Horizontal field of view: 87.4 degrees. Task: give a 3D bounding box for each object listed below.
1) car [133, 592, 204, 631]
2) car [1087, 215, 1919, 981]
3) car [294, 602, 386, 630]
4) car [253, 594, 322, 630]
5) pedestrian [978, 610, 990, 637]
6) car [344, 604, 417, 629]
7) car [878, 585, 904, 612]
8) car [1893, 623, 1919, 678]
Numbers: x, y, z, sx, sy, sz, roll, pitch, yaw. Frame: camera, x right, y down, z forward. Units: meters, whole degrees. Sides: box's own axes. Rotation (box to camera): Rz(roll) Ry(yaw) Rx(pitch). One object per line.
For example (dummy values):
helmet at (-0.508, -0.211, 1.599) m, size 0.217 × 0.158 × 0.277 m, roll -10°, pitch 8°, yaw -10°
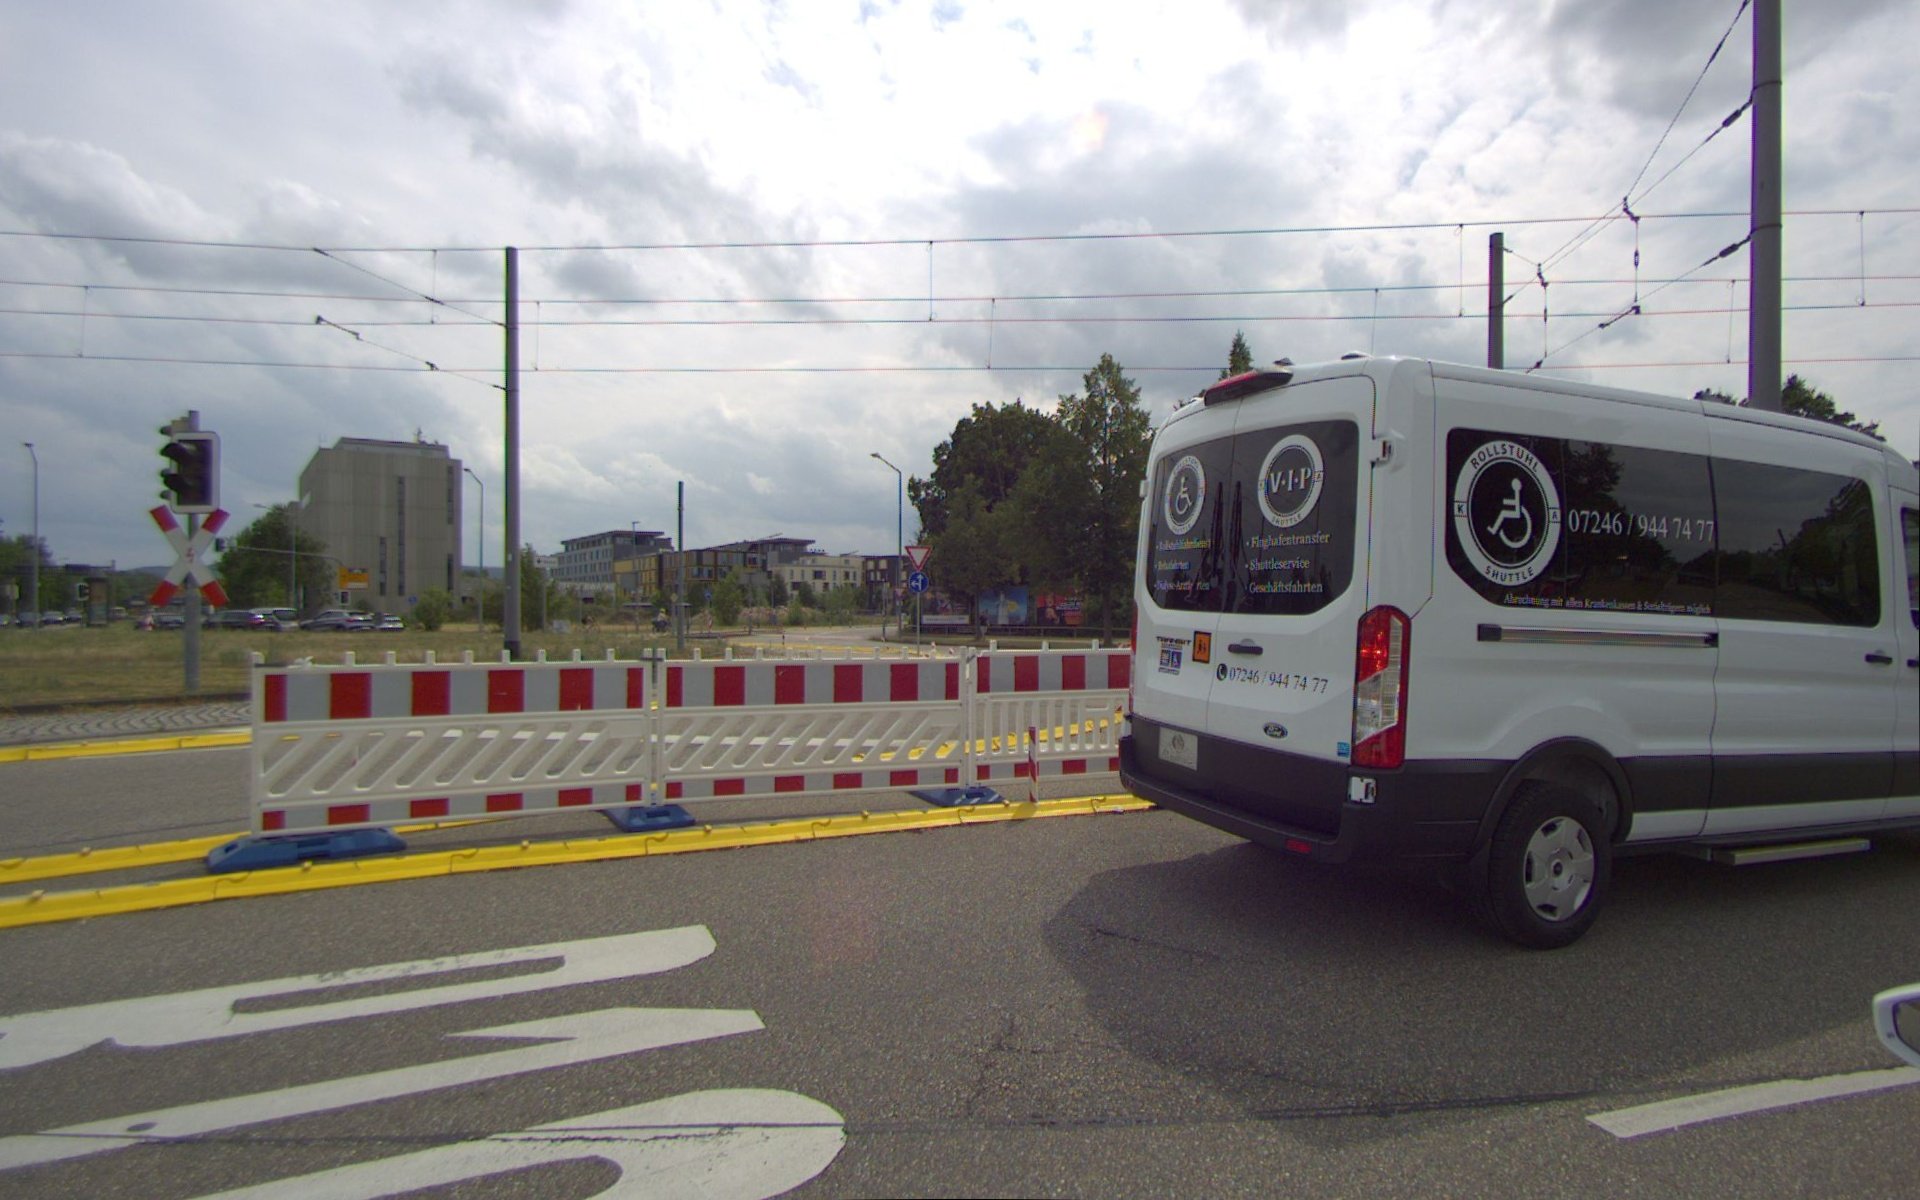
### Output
car at (-43.248, 0.633, 54.864) m, size 3.935 × 2.040 × 1.994 m, roll 0°, pitch -2°, yaw 36°
car at (3.656, 0.026, 5.688) m, size 5.552 × 2.733 × 2.121 m, roll 1°, pitch -1°, yaw -24°
car at (-34.015, 0.868, 55.181) m, size 3.921 × 1.483 × 1.833 m, roll 0°, pitch -1°, yaw -1°
car at (-40.199, 0.736, 59.997) m, size 4.290 × 2.040 × 1.994 m, roll 0°, pitch -2°, yaw 36°
pedestrian at (1.458, 1.421, 60.585) m, size 0.441 × 1.615 × 0.670 m, roll 0°, pitch 0°, yaw 32°
car at (-35.271, 1.006, 61.138) m, size 3.923 × 1.483 × 1.833 m, roll 0°, pitch -2°, yaw 23°
car at (-5.597, -0.104, 82.225) m, size 1.961 × 2.040 × 3.999 m, roll 1°, pitch -2°, yaw -2°
car at (27.973, 1.396, 26.929) m, size 3.919 × 1.477 × 1.850 m, roll 0°, pitch 0°, yaw 13°
